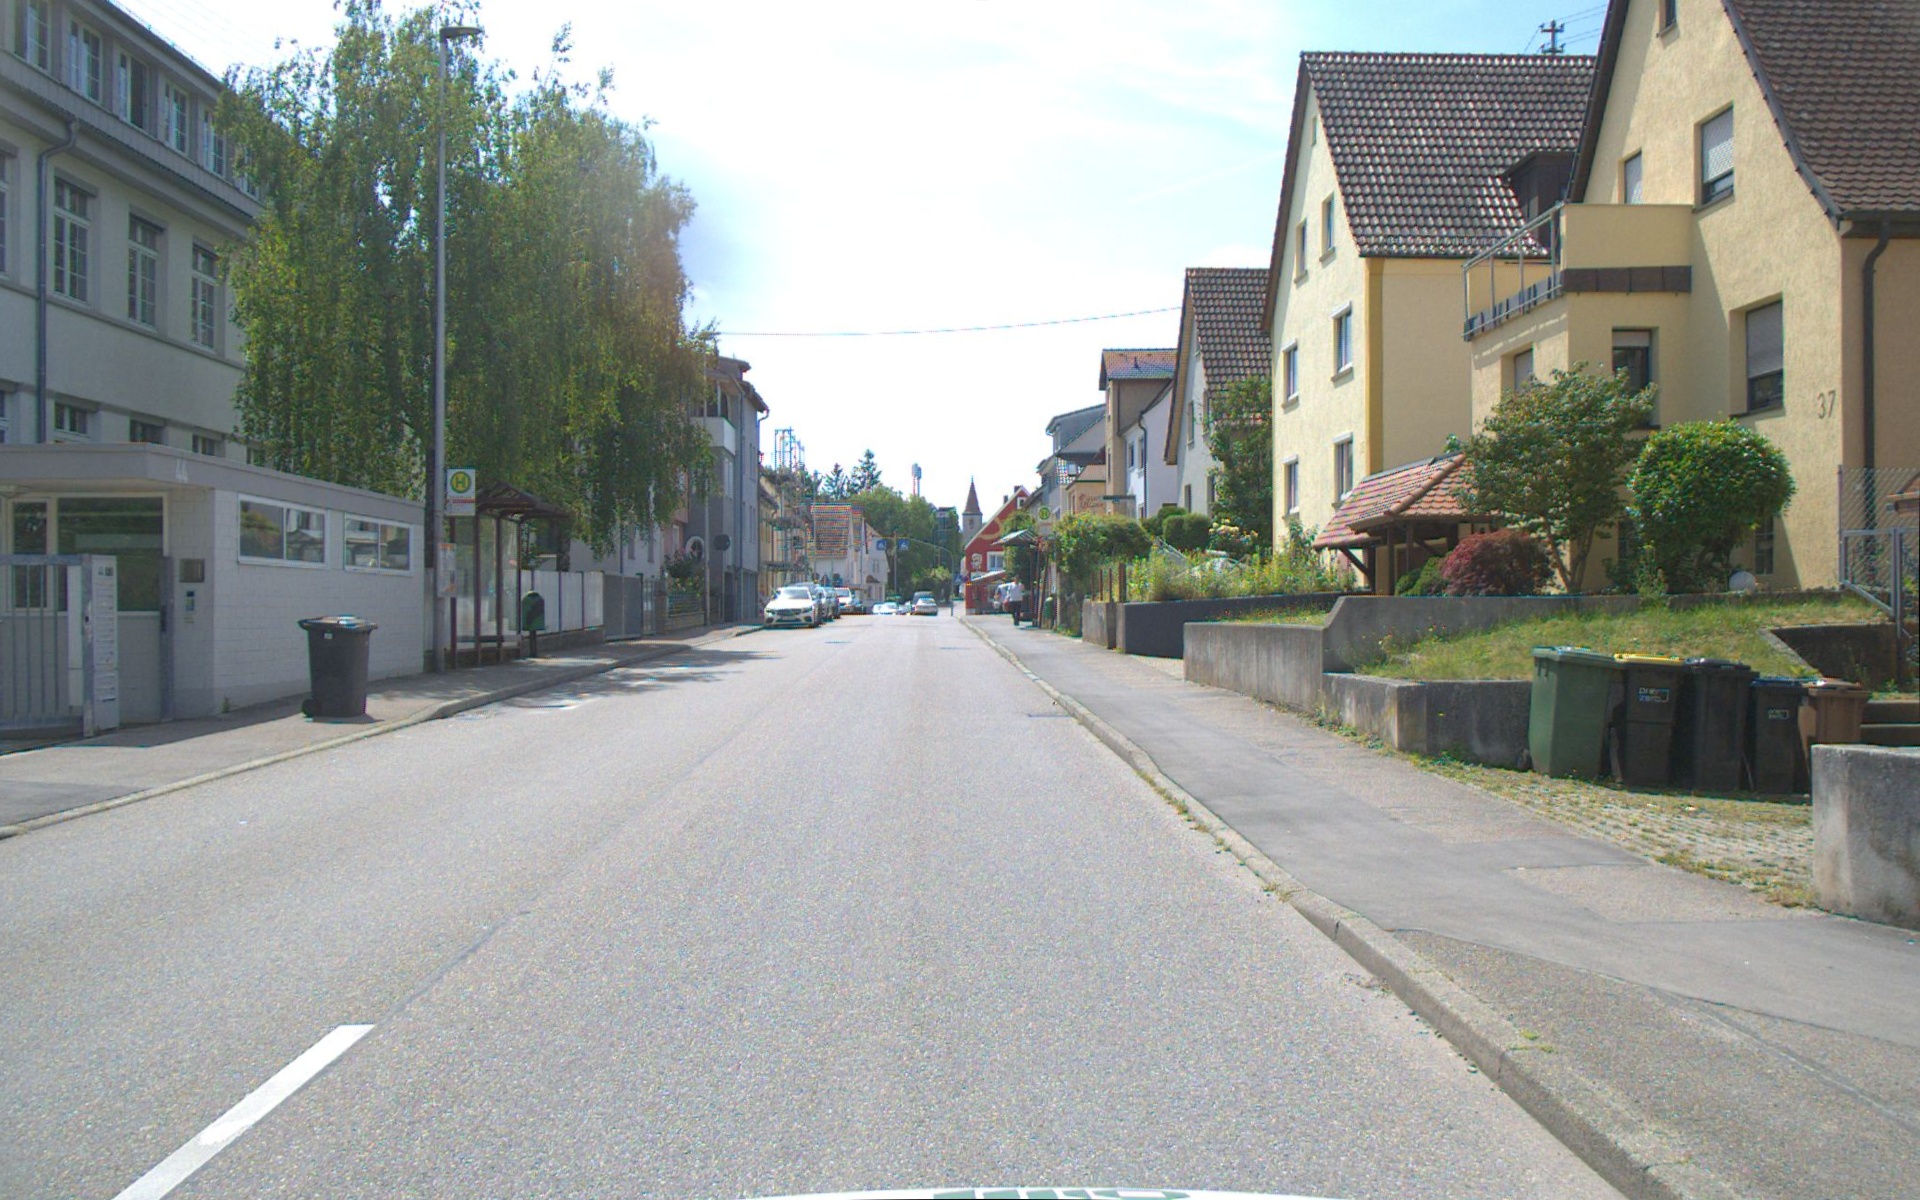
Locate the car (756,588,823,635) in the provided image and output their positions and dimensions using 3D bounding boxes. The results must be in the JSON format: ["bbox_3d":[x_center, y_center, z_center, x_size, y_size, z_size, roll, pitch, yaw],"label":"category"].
[{"bbox_3d":[-6.166,0.389,60.209,2.068,1.588,4.312,-1,1,-2],"label":"car"}]

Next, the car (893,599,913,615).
[{"bbox_3d":[-5.459,0.655,157.913,1.802,1.489,4.000,-1,1,-1],"label":"car"}]

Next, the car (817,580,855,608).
[{"bbox_3d":[-7.140,-0.375,95.718,1.953,1.588,4.312,-1,1,-2],"label":"car"}]

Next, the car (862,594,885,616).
[{"bbox_3d":[-8.232,0.434,157.412,1.952,2.049,4.000,-1,0,1],"label":"car"}]

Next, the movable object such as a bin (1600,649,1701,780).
[{"bbox_3d":[5.807,0.955,13.933,0.518,1.006,0.563,6,0,-1],"label":"movable object such as a bin"}]

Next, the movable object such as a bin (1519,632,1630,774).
[{"bbox_3d":[5.156,0.849,13.913,0.571,1.097,0.733,4,0,-1],"label":"movable object such as a bin"}]

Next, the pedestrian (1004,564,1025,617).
[{"bbox_3d":[1.860,-0.320,56.529,0.633,1.760,0.608,-3,1,-2],"label":"pedestrian"}]

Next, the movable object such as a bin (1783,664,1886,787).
[{"bbox_3d":[7.443,1.060,14.094,0.517,0.968,0.563,3,0,-1],"label":"movable object such as a bin"}]

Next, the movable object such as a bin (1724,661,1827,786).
[{"bbox_3d":[6.887,1.032,13.989,0.517,0.968,0.563,5,0,-1],"label":"movable object such as a bin"}]

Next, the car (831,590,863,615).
[{"bbox_3d":[-7.450,0.137,109.150,1.953,1.588,4.312,-1,1,-2],"label":"car"}]

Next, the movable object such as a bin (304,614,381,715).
[{"bbox_3d":[-6.891,0.712,18.494,0.595,1.064,0.725,0,2,-2],"label":"movable object such as a bin"}]

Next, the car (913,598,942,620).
[{"bbox_3d":[-2.550,0.688,129.114,1.954,1.588,4.310,-1,1,-4],"label":"car"}]

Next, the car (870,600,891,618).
[{"bbox_3d":[-7.148,0.759,148.280,1.804,1.489,3.997,-1,1,-4],"label":"car"}]

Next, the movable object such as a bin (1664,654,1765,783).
[{"bbox_3d":[6.352,0.989,13.943,0.517,1.006,0.563,5,0,-1],"label":"movable object such as a bin"}]
